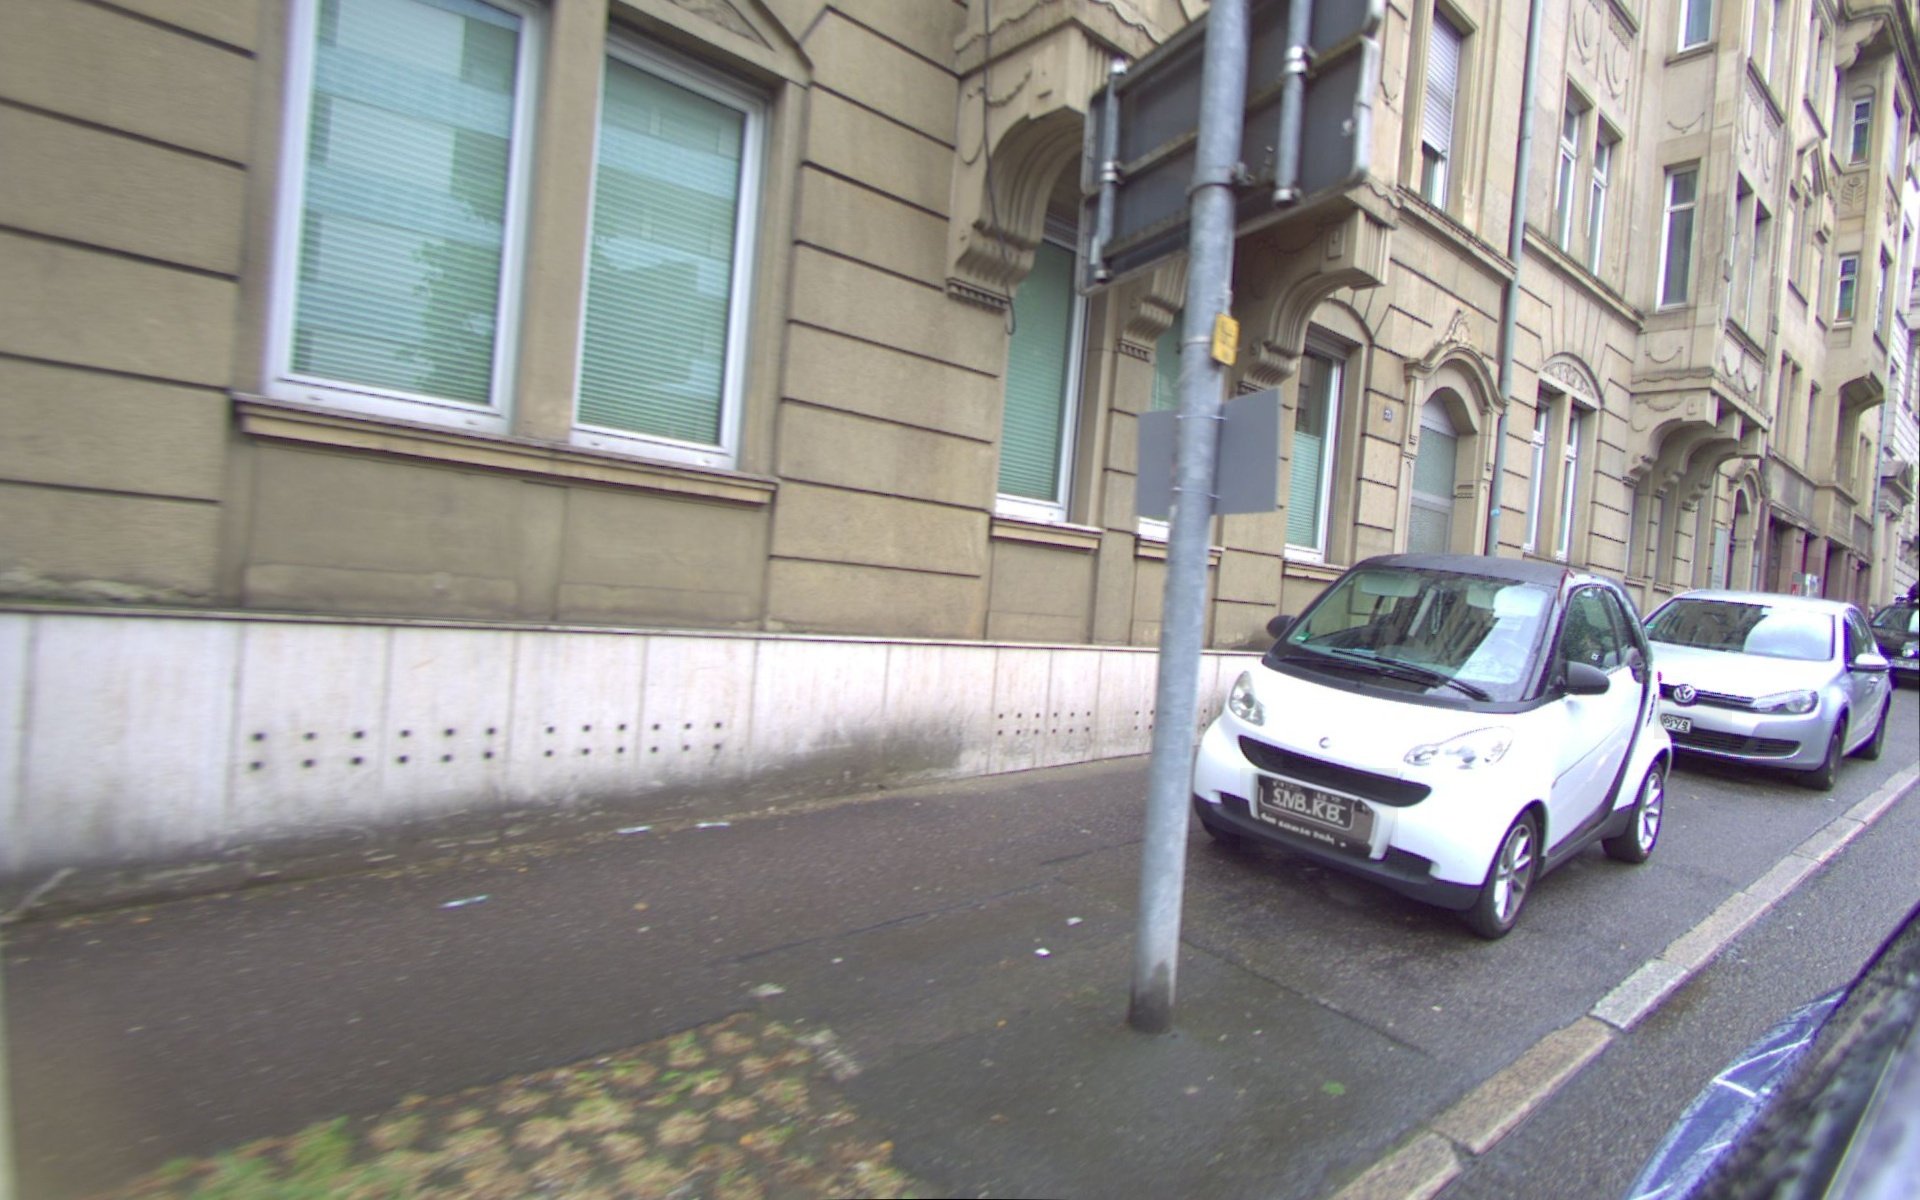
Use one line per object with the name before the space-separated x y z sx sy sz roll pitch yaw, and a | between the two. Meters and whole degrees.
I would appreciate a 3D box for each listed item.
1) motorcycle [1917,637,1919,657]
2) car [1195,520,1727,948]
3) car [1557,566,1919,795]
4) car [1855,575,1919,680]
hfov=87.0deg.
motorcycle | 23.058 0.776 22.840 2.233 1.258 0.525 5 3 0
car | 2.713 0.486 5.271 2.923 1.561 1.303 0 6 -41
car | 7.155 0.562 9.109 3.929 1.468 1.765 0 6 -41
car | 17.686 0.527 18.092 4.025 1.670 1.765 1 6 -40
